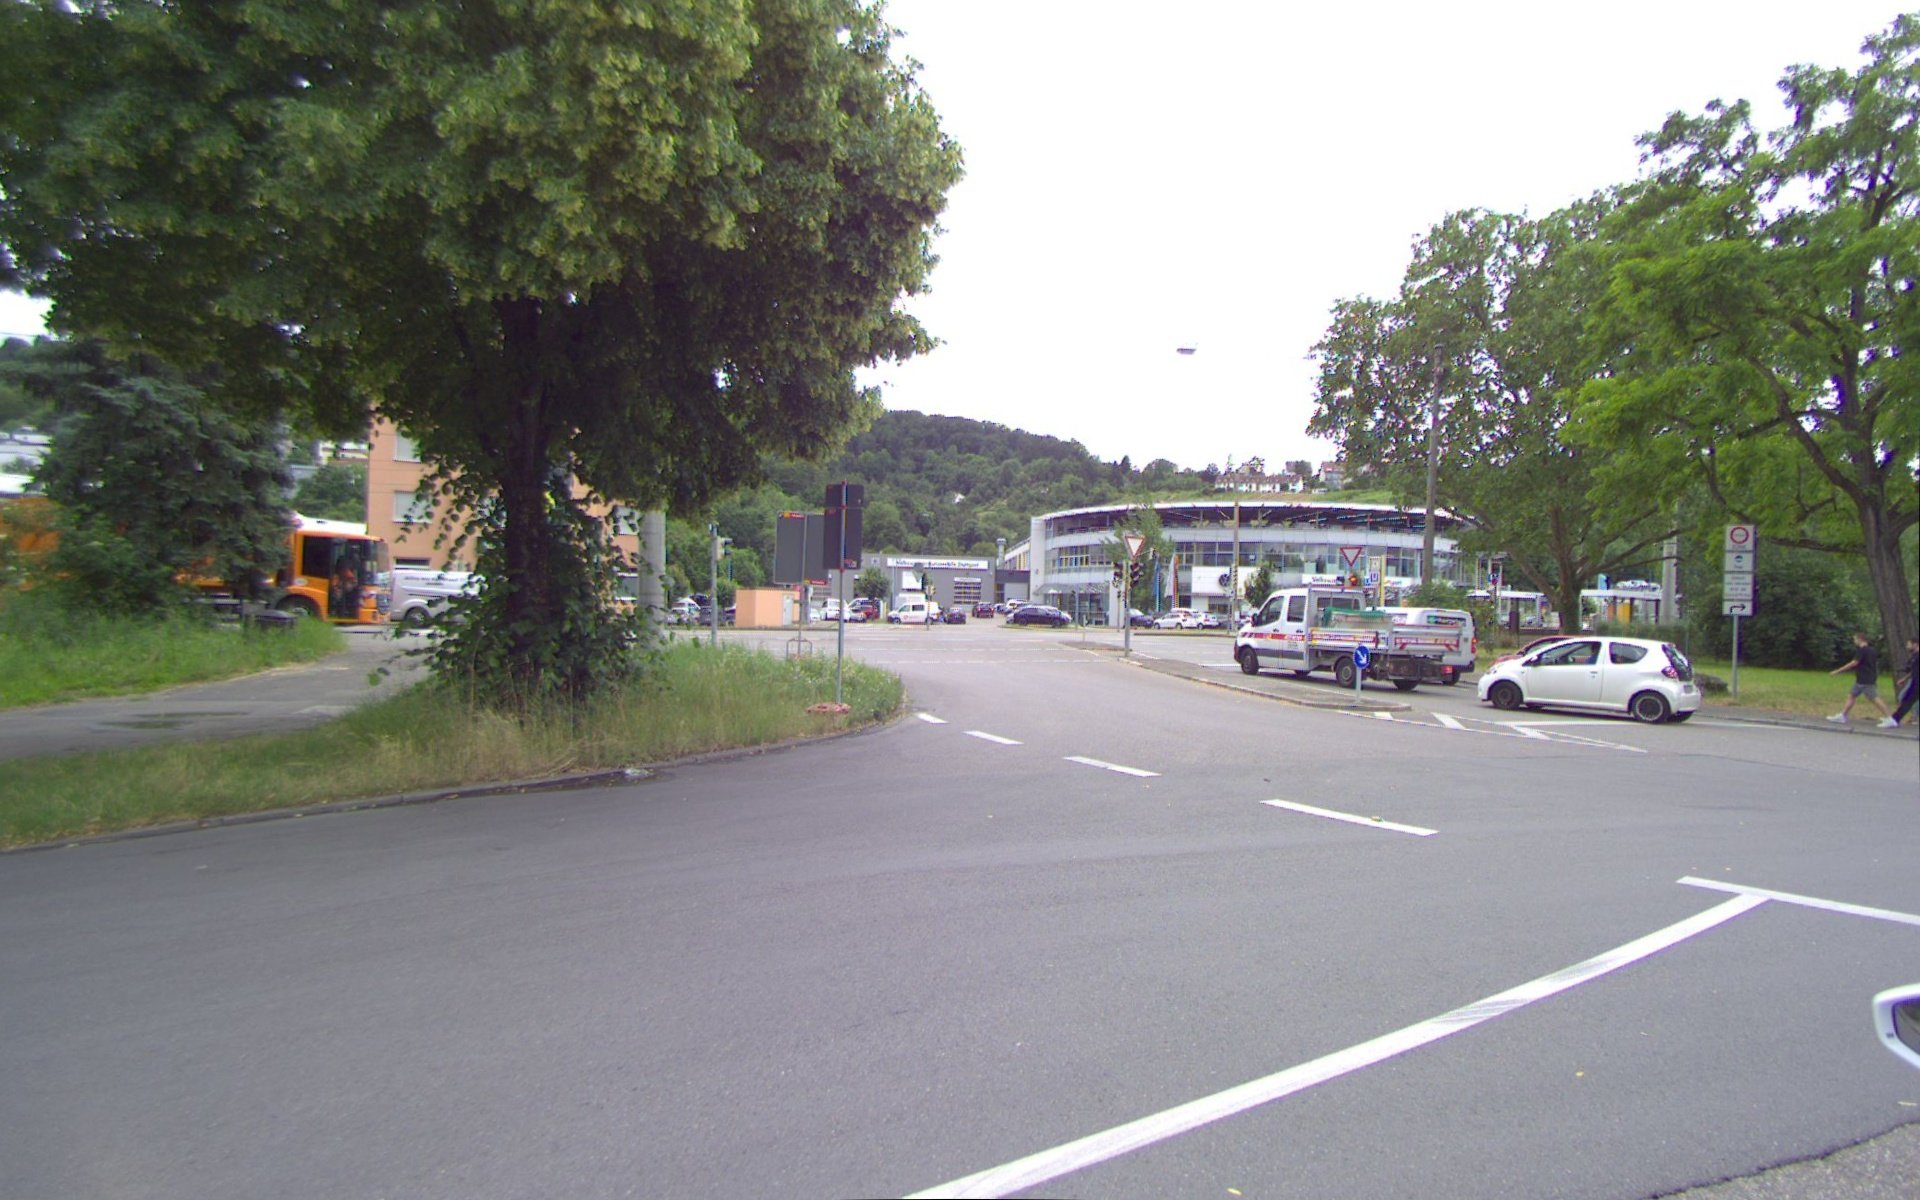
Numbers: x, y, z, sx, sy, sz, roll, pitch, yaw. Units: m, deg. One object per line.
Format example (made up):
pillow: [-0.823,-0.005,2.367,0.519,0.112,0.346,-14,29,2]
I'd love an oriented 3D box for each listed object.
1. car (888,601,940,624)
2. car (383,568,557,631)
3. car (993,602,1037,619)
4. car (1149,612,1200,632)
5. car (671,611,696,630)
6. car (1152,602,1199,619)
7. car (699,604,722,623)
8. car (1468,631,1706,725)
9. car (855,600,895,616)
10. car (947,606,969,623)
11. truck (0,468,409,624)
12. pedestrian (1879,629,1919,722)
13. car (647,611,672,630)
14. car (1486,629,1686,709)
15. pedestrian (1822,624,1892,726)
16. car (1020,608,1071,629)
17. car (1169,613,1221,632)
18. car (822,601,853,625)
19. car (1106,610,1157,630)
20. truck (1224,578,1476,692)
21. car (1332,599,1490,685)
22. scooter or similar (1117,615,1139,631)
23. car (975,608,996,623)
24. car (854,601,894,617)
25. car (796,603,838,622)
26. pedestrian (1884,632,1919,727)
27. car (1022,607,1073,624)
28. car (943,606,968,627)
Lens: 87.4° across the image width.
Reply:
car: [-4.126,1.143,90.703,4.614,1.929,1.775,1,0,-3]
car: [-17.017,-0.002,35.217,5.219,2.040,1.964,2,1,-20]
car: [6.146,1.147,112.603,4.720,1.827,1.774,1,0,-5]
car: [18.013,1.848,84.604,1.760,1.521,3.978,1,0,-38]
car: [-24.286,1.775,88.294,1.753,1.539,3.622,2,0,-11]
car: [20.922,1.000,97.660,4.148,1.511,1.789,1,0,38]
car: [-21.866,1.210,88.205,1.753,1.539,3.622,2,0,-11]
car: [11.477,1.351,18.551,1.630,1.451,3.392,1,0,-39]
car: [-8.901,0.868,105.405,4.011,1.554,1.775,1,0,-3]
car: [-0.225,1.331,94.030,1.742,1.553,4.087,1,0,-5]
truck: [-21.264,-1.370,27.563,10.261,3.573,2.786,3,0,-19]
pedestrian: [18.487,1.453,19.468,0.686,1.763,0.783,1,0,-26]
car: [-26.362,1.775,88.136,1.753,1.539,3.622,2,0,-11]
car: [13.476,1.447,21.836,1.618,1.476,3.417,2,-1,-18]
pedestrian: [17.182,1.407,19.245,0.686,1.882,0.783,1,0,-26]
car: [6.612,1.424,77.528,3.802,1.521,1.777,1,0,9]
car: [20.022,1.916,85.646,1.779,1.511,4.172,1,0,-36]
car: [-10.084,1.062,82.357,1.835,1.842,4.387,1,0,-16]
car: [14.039,1.612,82.281,1.761,1.521,3.836,1,0,-40]
truck: [9.313,0.764,24.734,2.393,2.429,6.000,1,0,-21]
car: [12.269,1.075,27.722,1.958,2.135,4.759,1,0,-4]
scooter or similar: [13.261,1.815,79.455,1.640,1.193,0.467,1,0,0]
car: [2.723,1.644,108.136,1.742,1.553,4.087,1,0,-5]
car: [-8.798,0.897,103.371,4.011,1.554,1.775,1,0,-3]
car: [-12.631,1.093,88.379,1.761,1.554,4.042,1,0,-40]
pedestrian: [18.020,1.479,18.861,0.686,1.737,0.783,1,0,-26]
car: [8.485,1.532,97.643,4.720,1.554,1.774,1,0,-5]
car: [-0.422,1.505,94.161,1.962,1.840,3.996,1,0,-6]
